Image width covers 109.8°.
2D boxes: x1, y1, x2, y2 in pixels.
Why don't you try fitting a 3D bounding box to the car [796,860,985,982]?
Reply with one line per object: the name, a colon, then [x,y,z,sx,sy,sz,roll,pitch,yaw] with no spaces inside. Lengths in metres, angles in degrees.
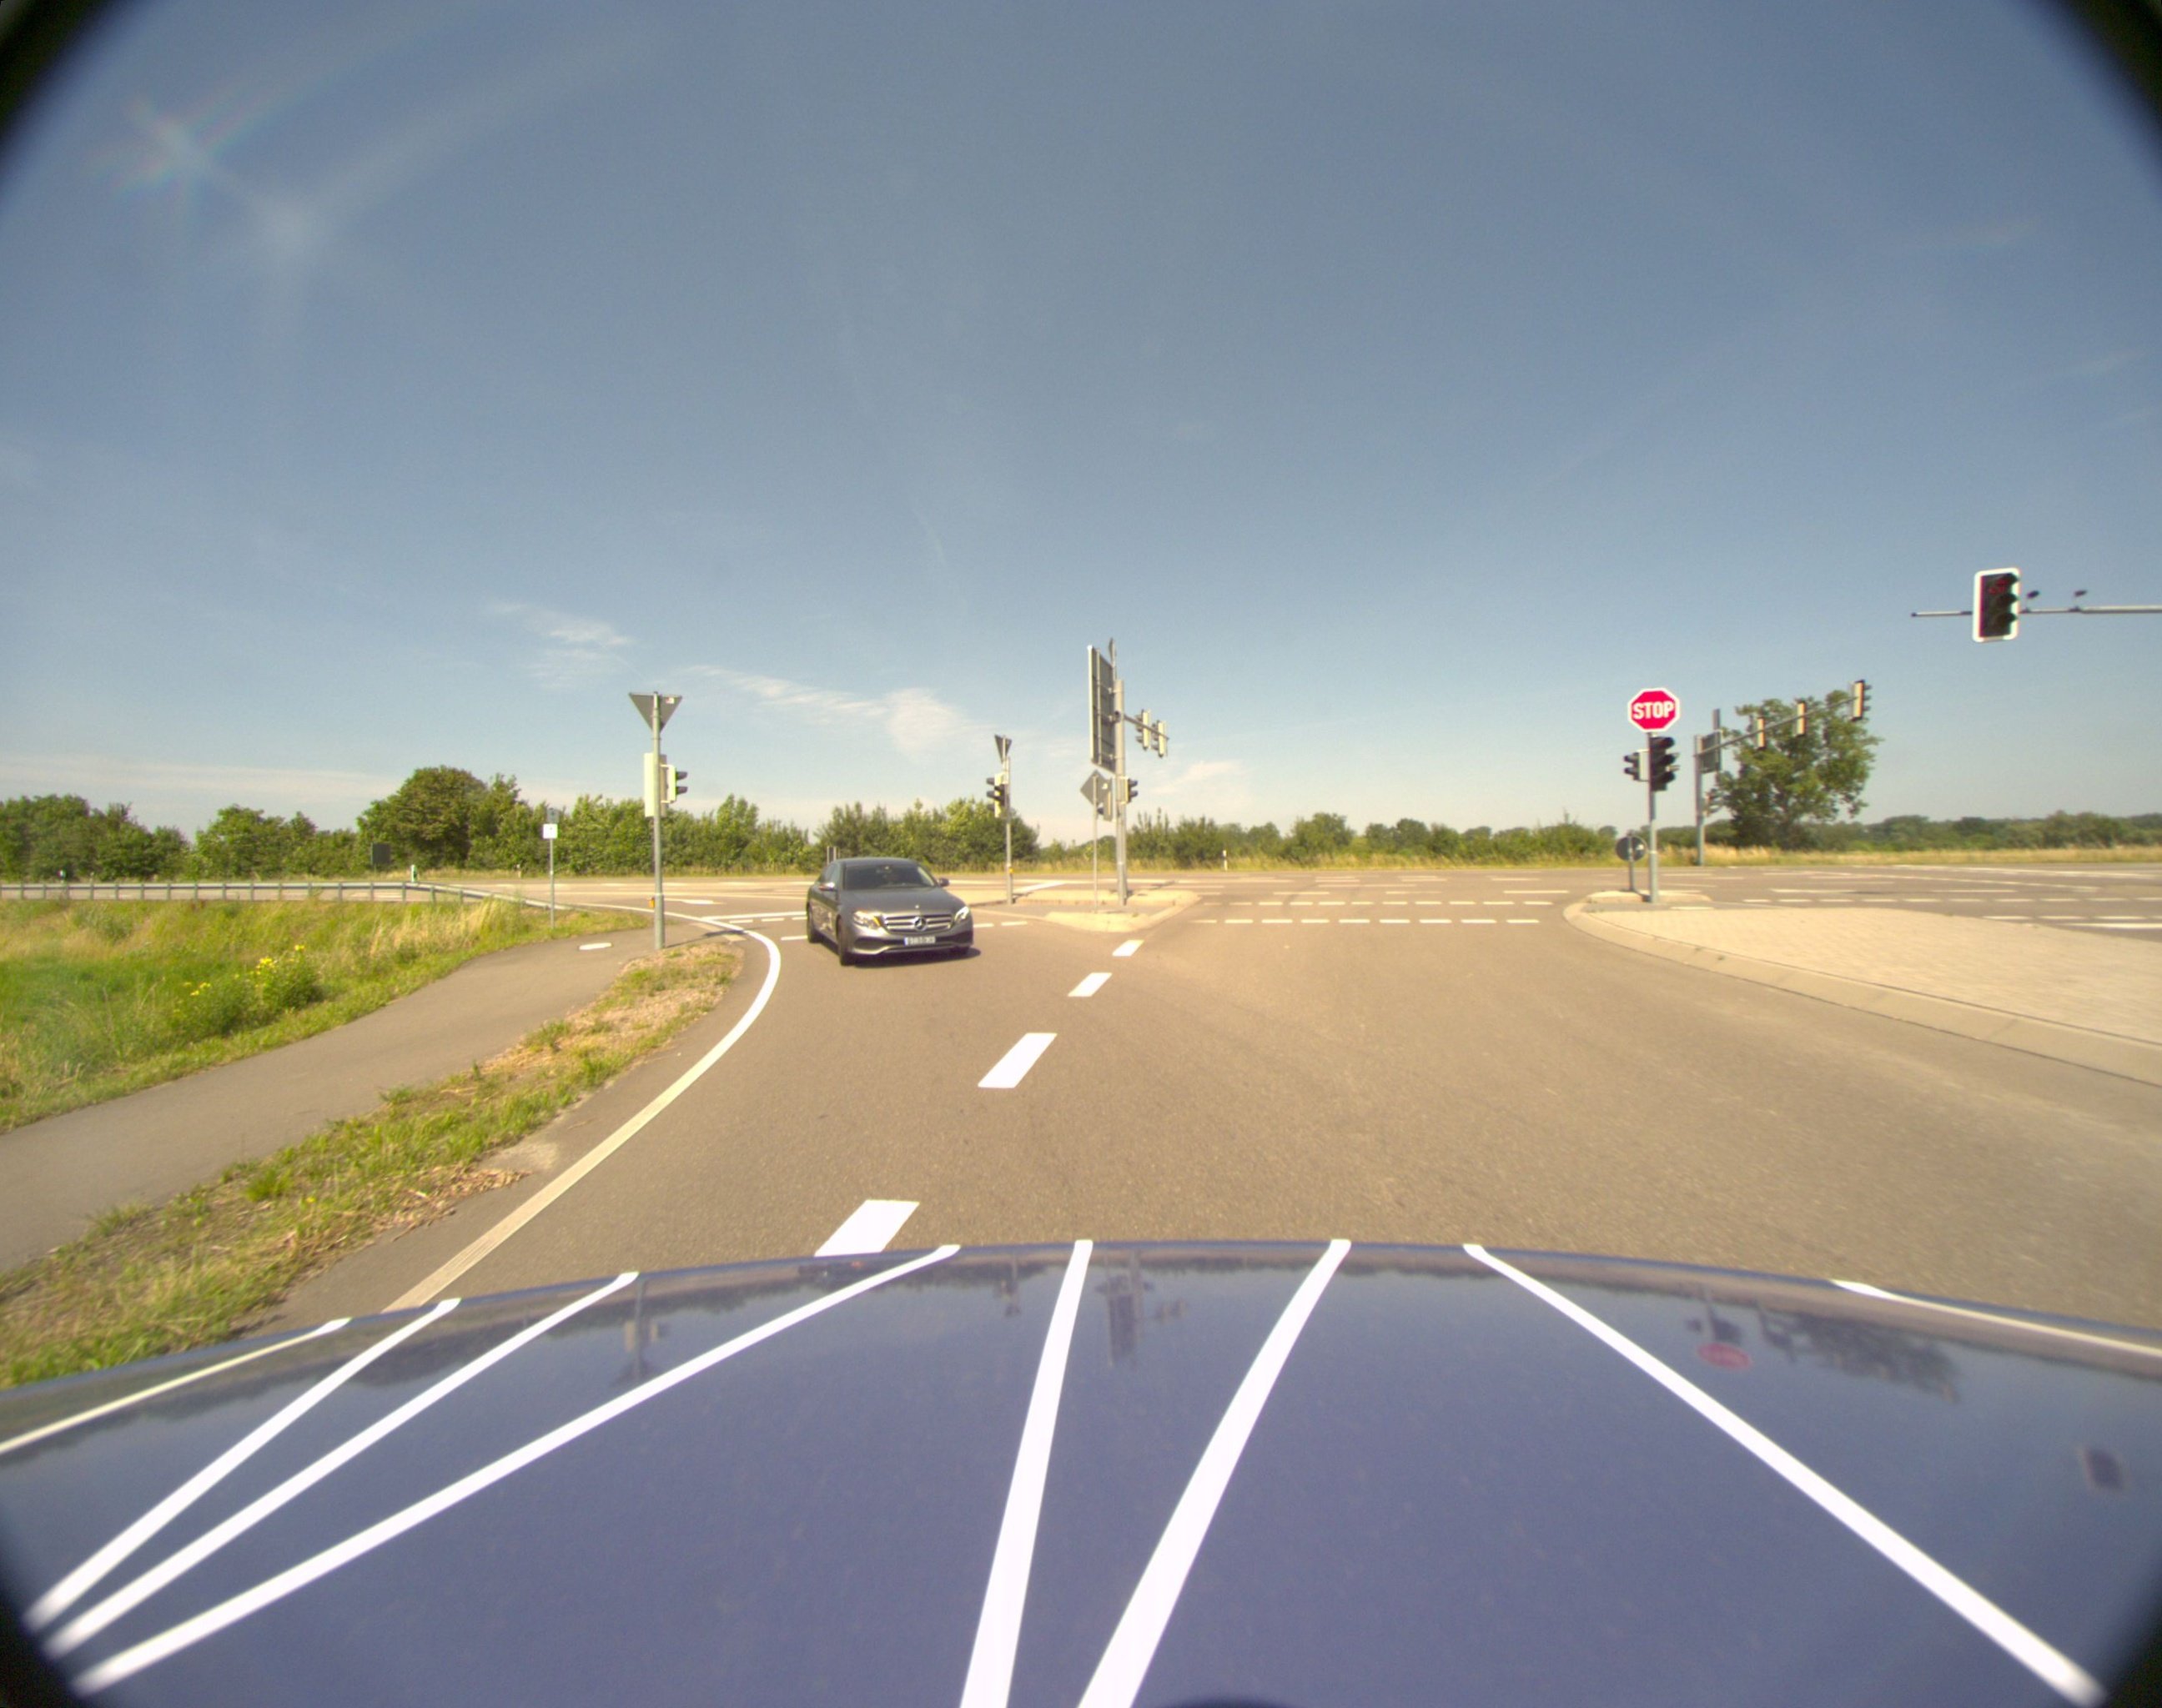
car: [-3.260,0.888,12.216,1.897,1.439,4.515,-3,2,-27]
